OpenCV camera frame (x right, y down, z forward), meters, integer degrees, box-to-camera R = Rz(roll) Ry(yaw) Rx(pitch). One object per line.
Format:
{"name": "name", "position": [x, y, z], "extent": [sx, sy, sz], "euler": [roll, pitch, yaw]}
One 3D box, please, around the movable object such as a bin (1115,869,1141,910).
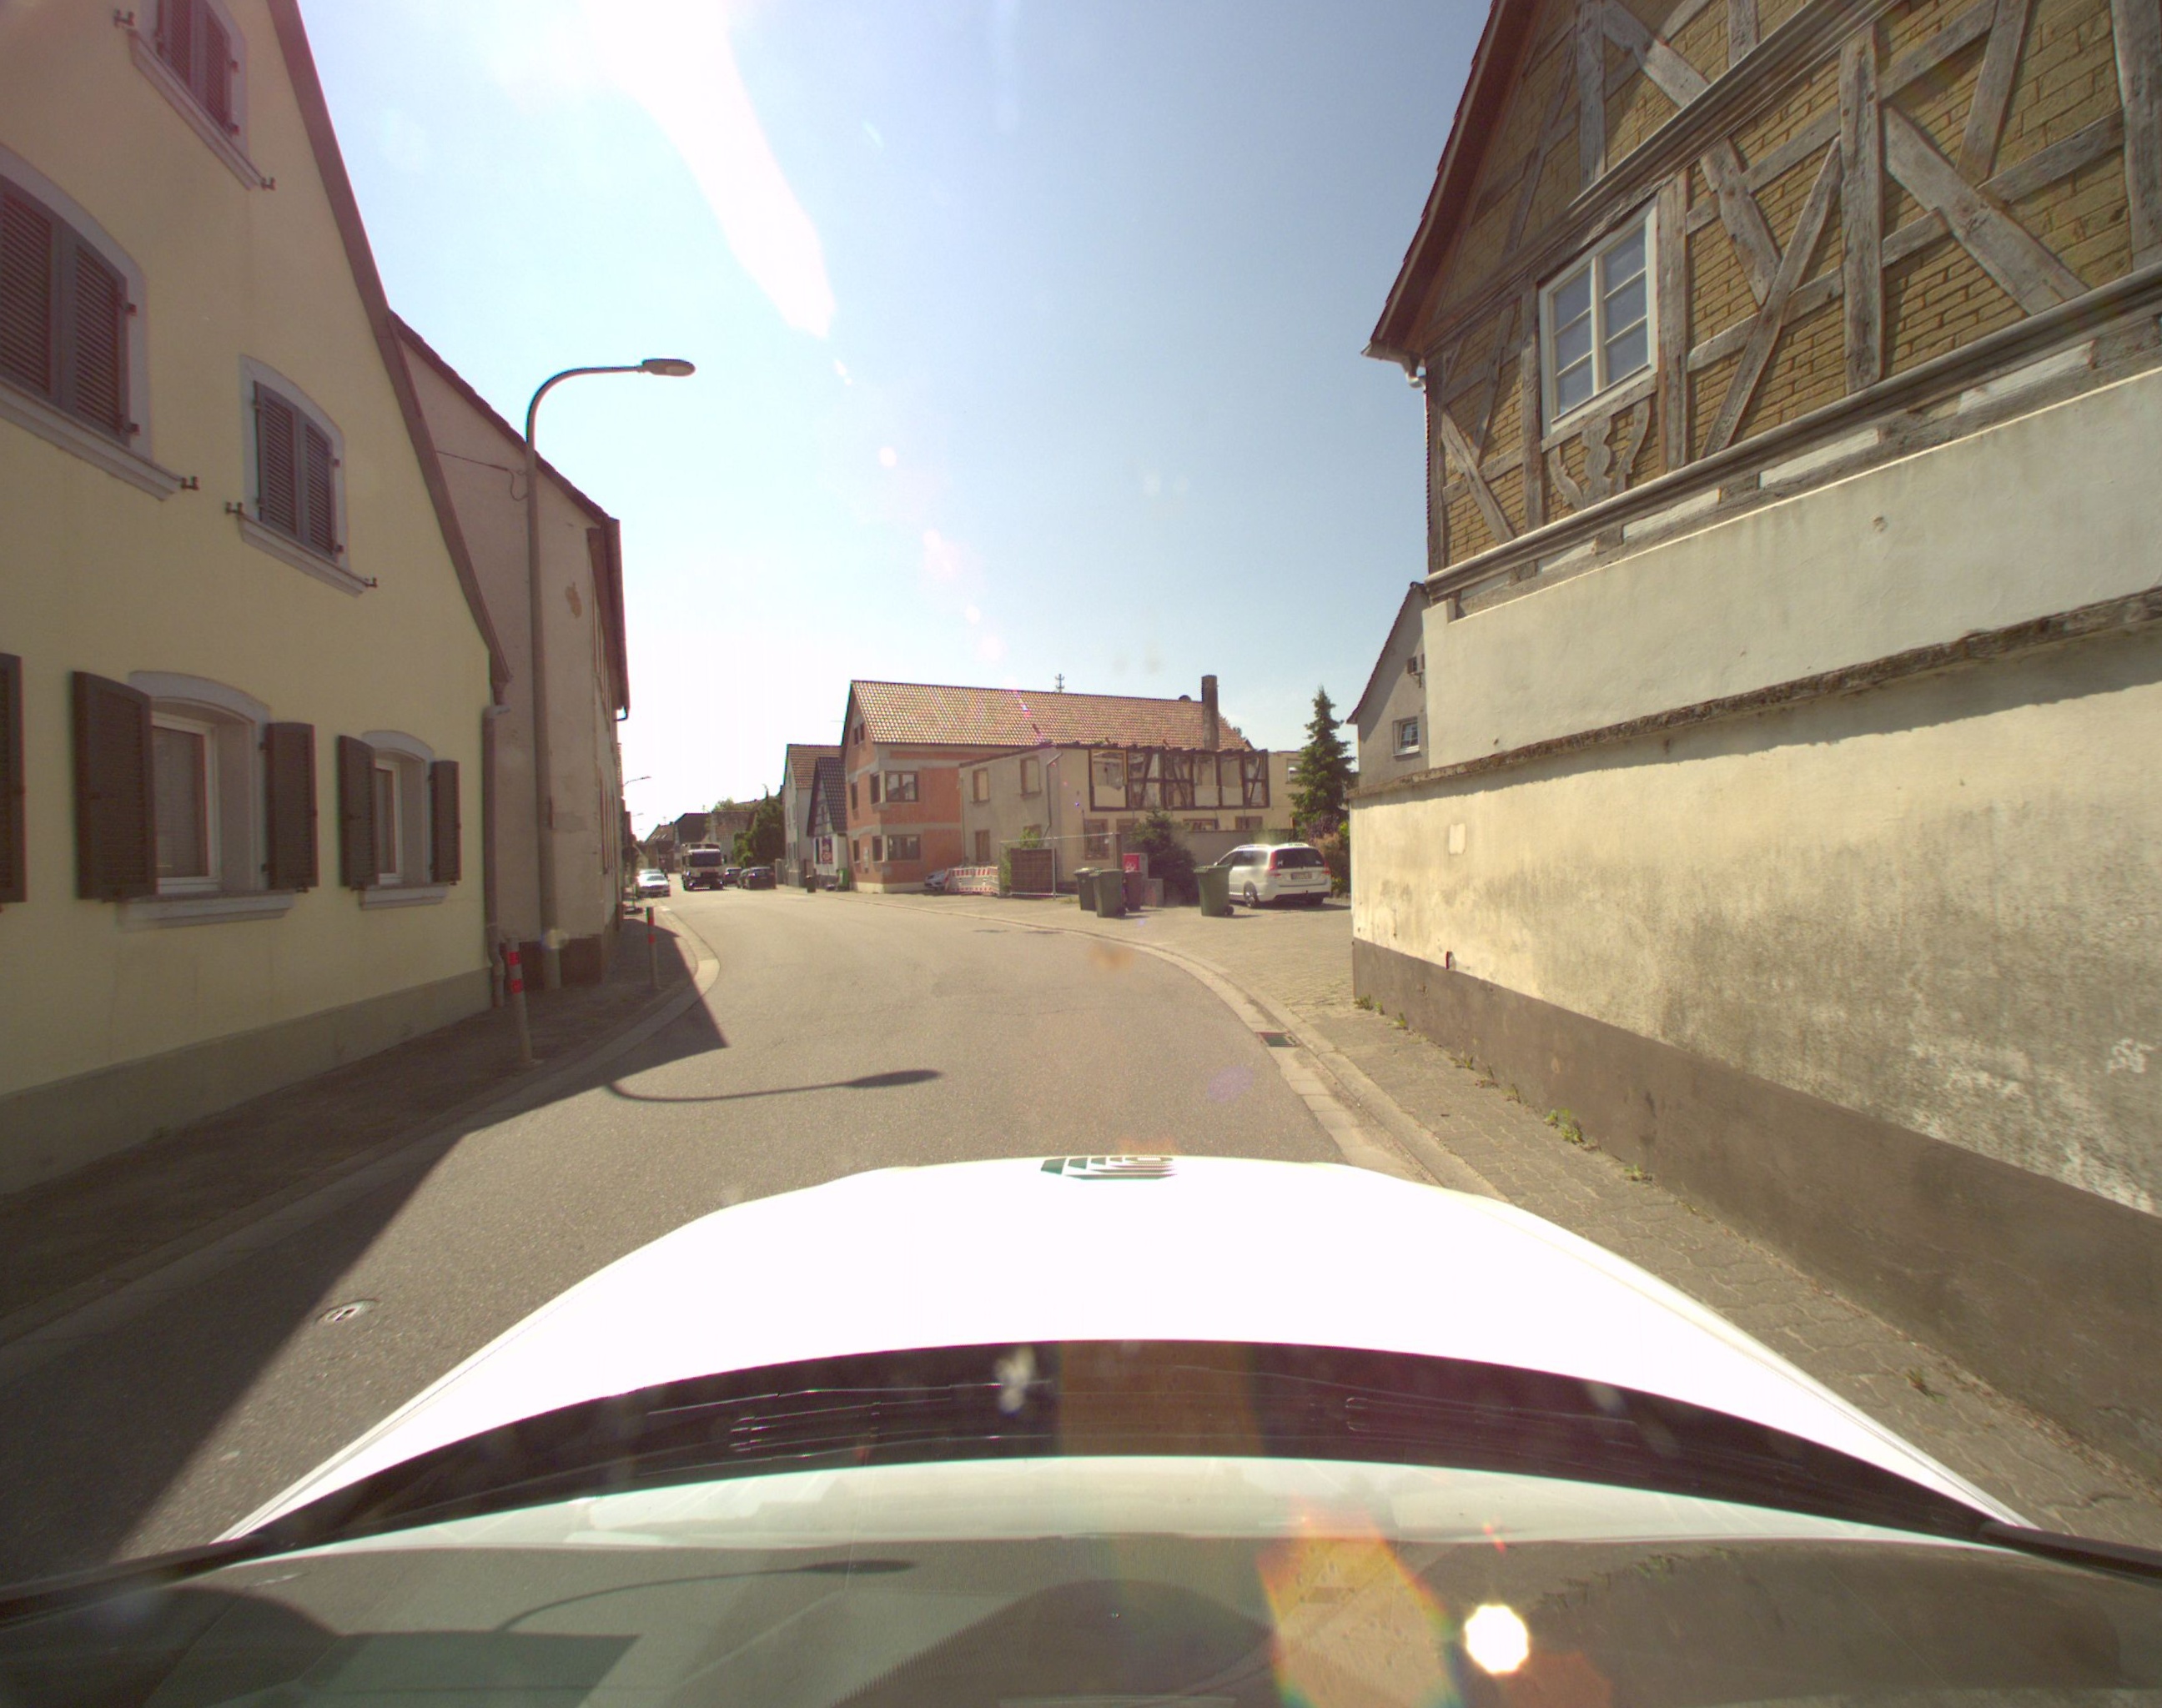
{"name": "movable object such as a bin", "position": [1.166, 0.870, 20.240], "extent": [0.466, 0.970, 0.492], "euler": [-2, 0, -22]}

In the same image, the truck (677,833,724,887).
{"name": "truck", "position": [-29.573, 0.510, 63.009], "extent": [2.711, 3.750, 10.770], "euler": [-3, 0, -28]}

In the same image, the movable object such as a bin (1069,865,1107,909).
{"name": "movable object such as a bin", "position": [0.184, 0.855, 21.163], "extent": [0.664, 1.072, 0.766], "euler": [-2, 0, 29]}

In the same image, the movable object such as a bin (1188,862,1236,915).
{"name": "movable object such as a bin", "position": [2.864, 0.738, 17.819], "extent": [0.723, 1.081, 0.749], "euler": [-2, 0, -24]}

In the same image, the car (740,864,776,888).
{"name": "car", "position": [-23.098, 1.568, 58.149], "extent": [1.808, 1.560, 4.589], "euler": [-3, 0, -28]}

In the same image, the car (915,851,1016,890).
{"name": "car", "position": [-5.269, 0.716, 37.228], "extent": [4.119, 1.507, 1.850], "euler": [-3, 1, -34]}

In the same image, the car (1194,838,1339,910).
{"name": "car", "position": [4.514, 0.439, 20.518], "extent": [1.813, 1.528, 4.277], "euler": [-3, 1, -13]}

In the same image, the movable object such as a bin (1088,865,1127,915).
{"name": "movable object such as a bin", "position": [0.608, 0.830, 18.939], "extent": [0.689, 1.092, 0.633], "euler": [-2, 0, -21]}

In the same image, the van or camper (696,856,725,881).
{"name": "van or camper", "position": [-42.475, 1.638, 93.242], "extent": [2.537, 2.696, 4.511], "euler": [-2, 0, -30]}

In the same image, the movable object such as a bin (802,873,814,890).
{"name": "movable object such as a bin", "position": [-15.279, 1.556, 45.534], "extent": [0.538, 0.913, 0.549], "euler": [-2, 0, -12]}

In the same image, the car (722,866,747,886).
{"name": "car", "position": [-30.938, 1.948, 72.640], "extent": [1.803, 1.631, 4.324], "euler": [-3, 1, -25]}

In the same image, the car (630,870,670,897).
{"name": "car", "position": [-26.537, 1.772, 50.098], "extent": [1.847, 1.464, 4.227], "euler": [-3, 1, -32]}
